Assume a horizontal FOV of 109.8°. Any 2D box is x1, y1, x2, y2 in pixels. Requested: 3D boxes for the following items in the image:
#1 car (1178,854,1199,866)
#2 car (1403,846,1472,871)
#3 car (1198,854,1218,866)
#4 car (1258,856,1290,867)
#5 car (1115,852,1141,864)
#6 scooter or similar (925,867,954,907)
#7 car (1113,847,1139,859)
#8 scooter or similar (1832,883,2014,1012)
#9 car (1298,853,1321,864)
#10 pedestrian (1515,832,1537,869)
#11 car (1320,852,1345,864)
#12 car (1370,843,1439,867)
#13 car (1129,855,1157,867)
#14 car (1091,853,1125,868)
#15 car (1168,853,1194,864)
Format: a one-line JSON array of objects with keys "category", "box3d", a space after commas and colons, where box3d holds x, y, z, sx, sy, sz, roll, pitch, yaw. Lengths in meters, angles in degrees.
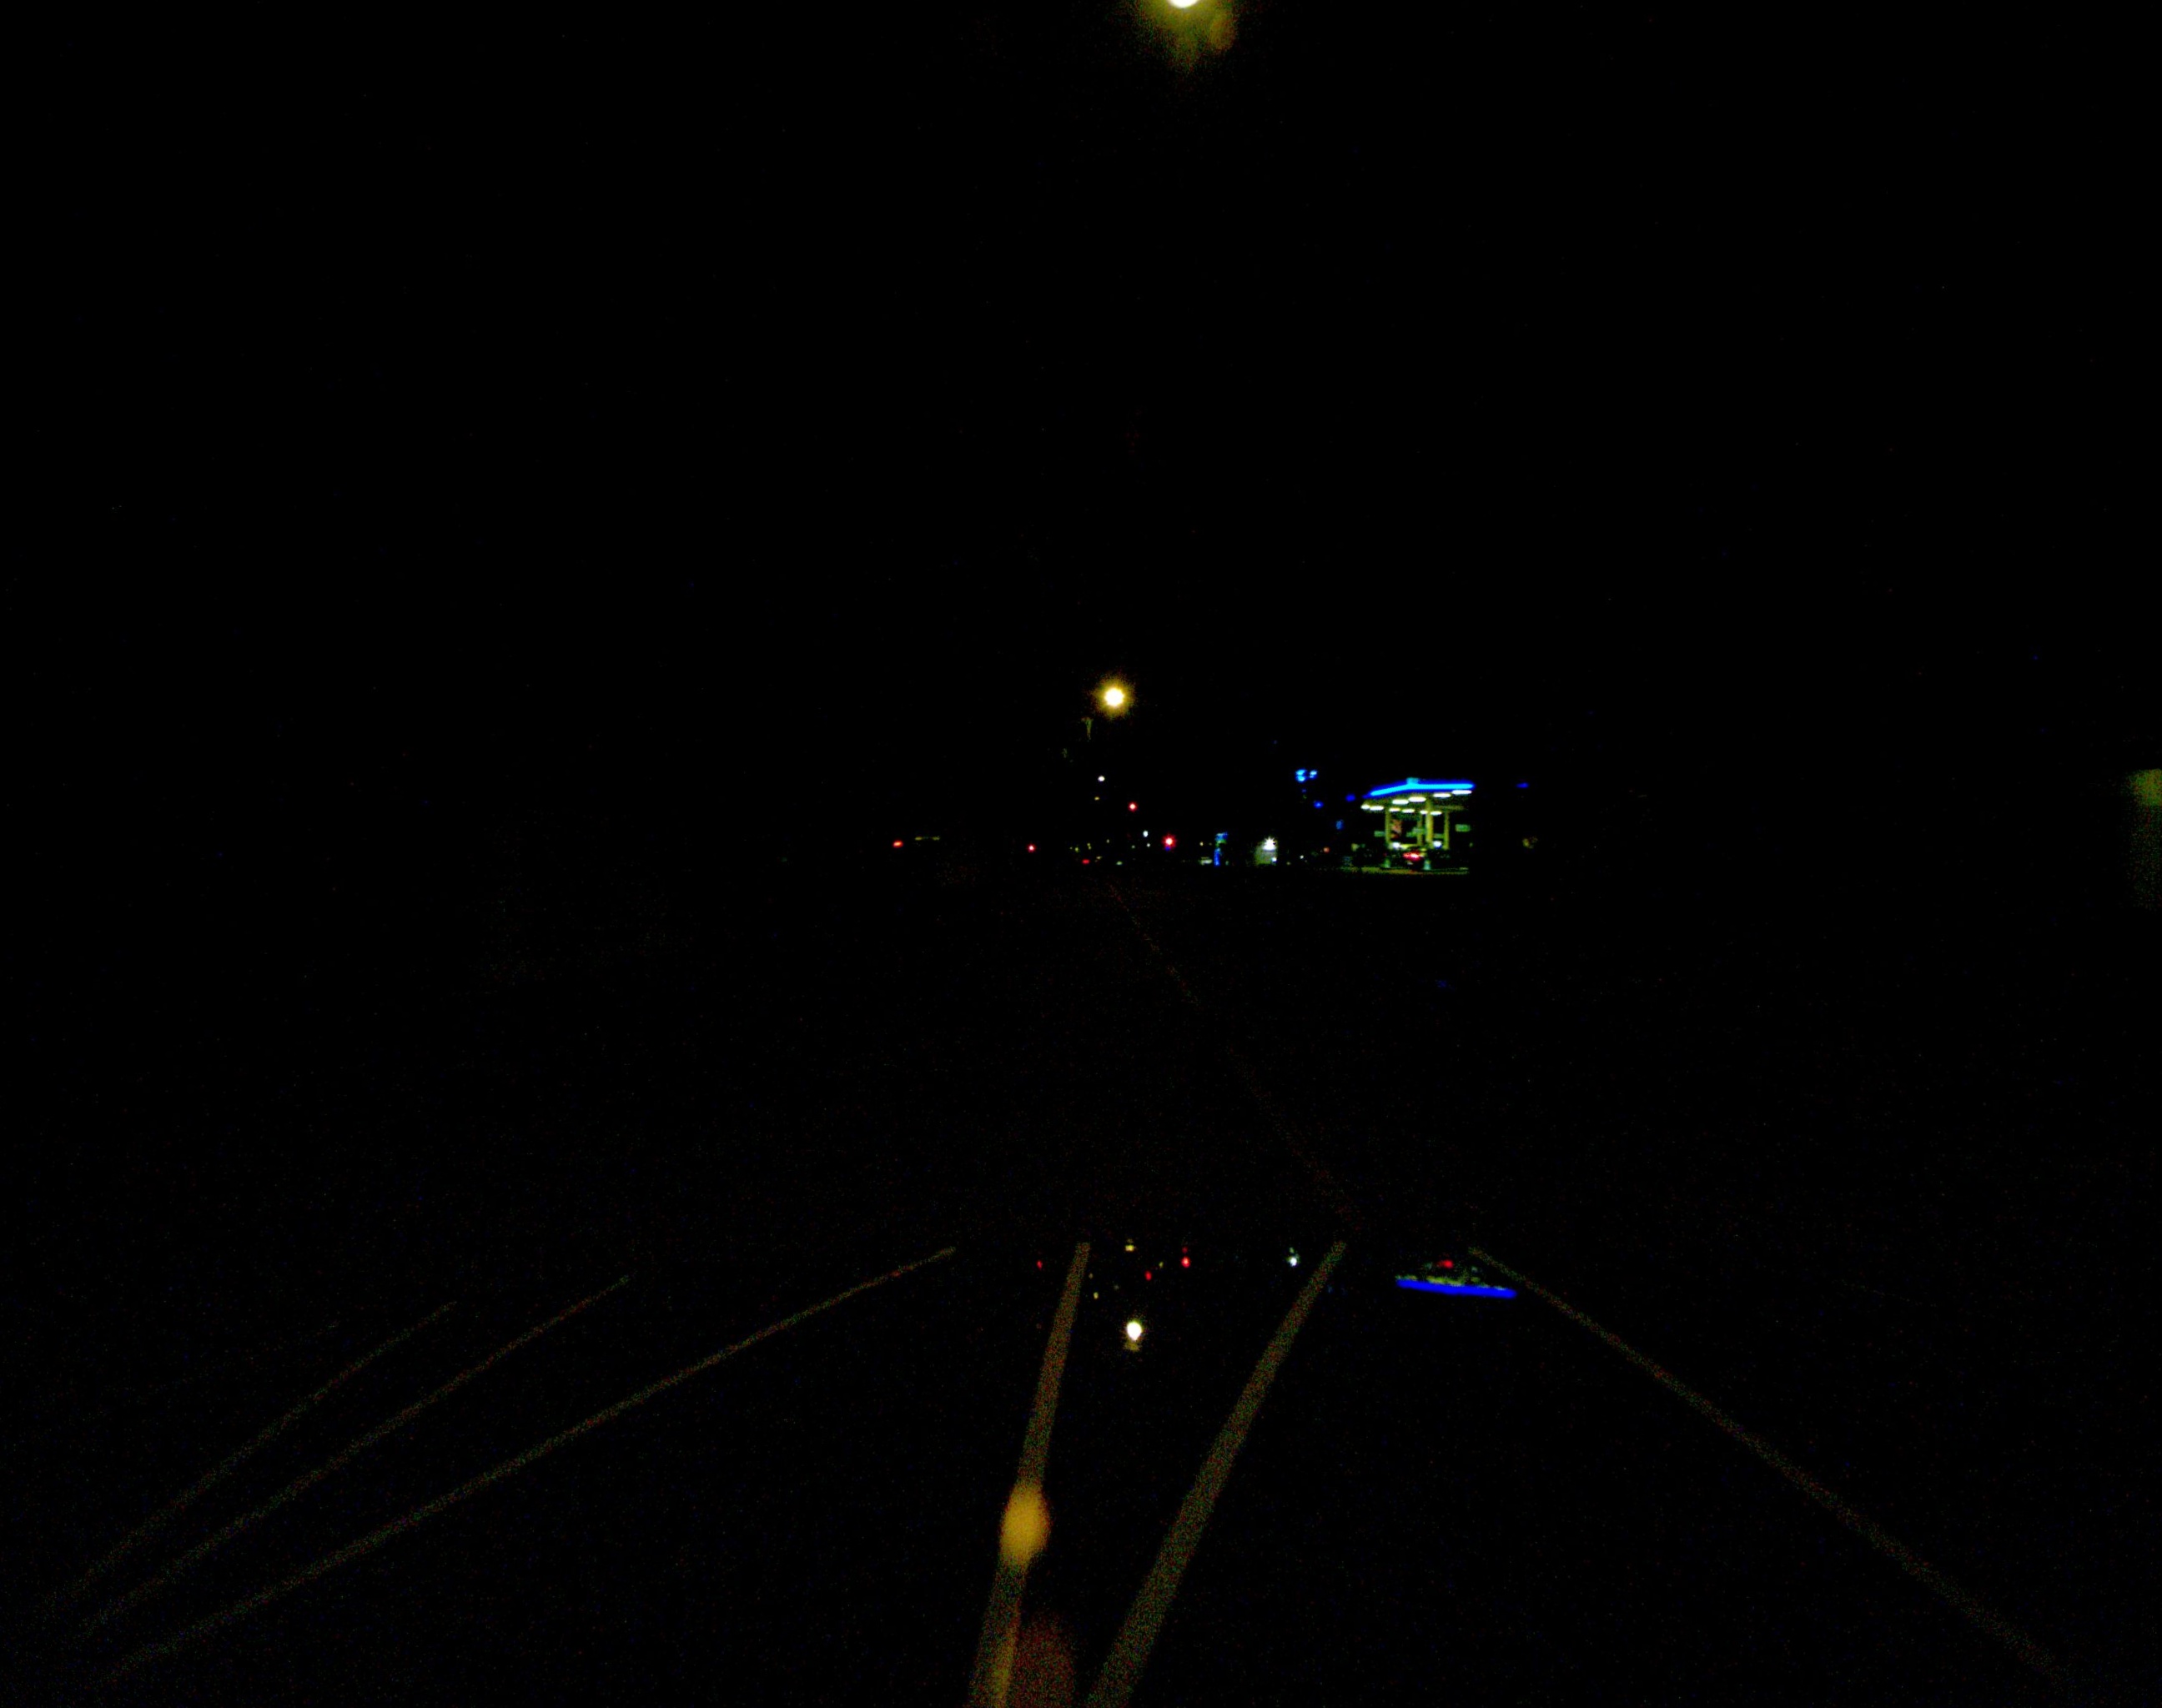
[{"category": "car", "box3d": [14.145, 0.738, 100.335, 1.999, 1.548, 4.386, -1, 0, -1]}, {"category": "car", "box3d": [23.399, 0.297, 50.008, 3.759, 1.524, 1.670, -1, 0, 0]}, {"category": "car", "box3d": [16.723, 0.768, 100.260, 1.864, 1.452, 4.070, -1, 0, 0]}, {"category": "car", "box3d": [27.716, 1.037, 109.120, 4.281, 1.469, 1.730, -1, 0, -27]}, {"category": "car", "box3d": [6.725, 0.584, 109.716, 3.576, 1.619, 1.620, 0, 1, -3]}, {"category": "scooter or similar", "box3d": [-4.541, 1.042, 24.511, 0.548, 1.196, 1.910, 0, 1, 1]}, {"category": "car", "box3d": [6.746, -0.138, 114.232, 3.848, 1.781, 1.634, 0, 1, -3]}, {"category": "scooter or similar", "box3d": [8.938, 0.942, 8.140, 0.368, 1.197, 1.427, 0, 1, 1]}, {"category": "car", "box3d": [30.061, 0.596, 100.043, 1.732, 1.469, 4.086, -1, 0, 0]}, {"category": "pedestrian", "box3d": [19.898, -0.161, 33.984, 0.577, 1.596, 0.643, -1, 1, -1]}, {"category": "car", "box3d": [33.120, 0.481, 100.204, 1.864, 1.469, 4.086, -1, 0, 0]}, {"category": "car", "box3d": [24.257, 0.065, 57.138, 4.357, 1.717, 1.979, -1, 0, 0]}, {"category": "car", "box3d": [8.508, 1.004, 104.641, 3.763, 1.577, 1.634, 0, 1, -3]}, {"category": "car", "box3d": [3.233, 0.766, 92.808, 4.082, 1.848, 1.853, -1, 1, 1]}, {"category": "car", "box3d": [14.603, 0.642, 110.728, 3.575, 1.689, 1.634, 0, 1, 0]}]
